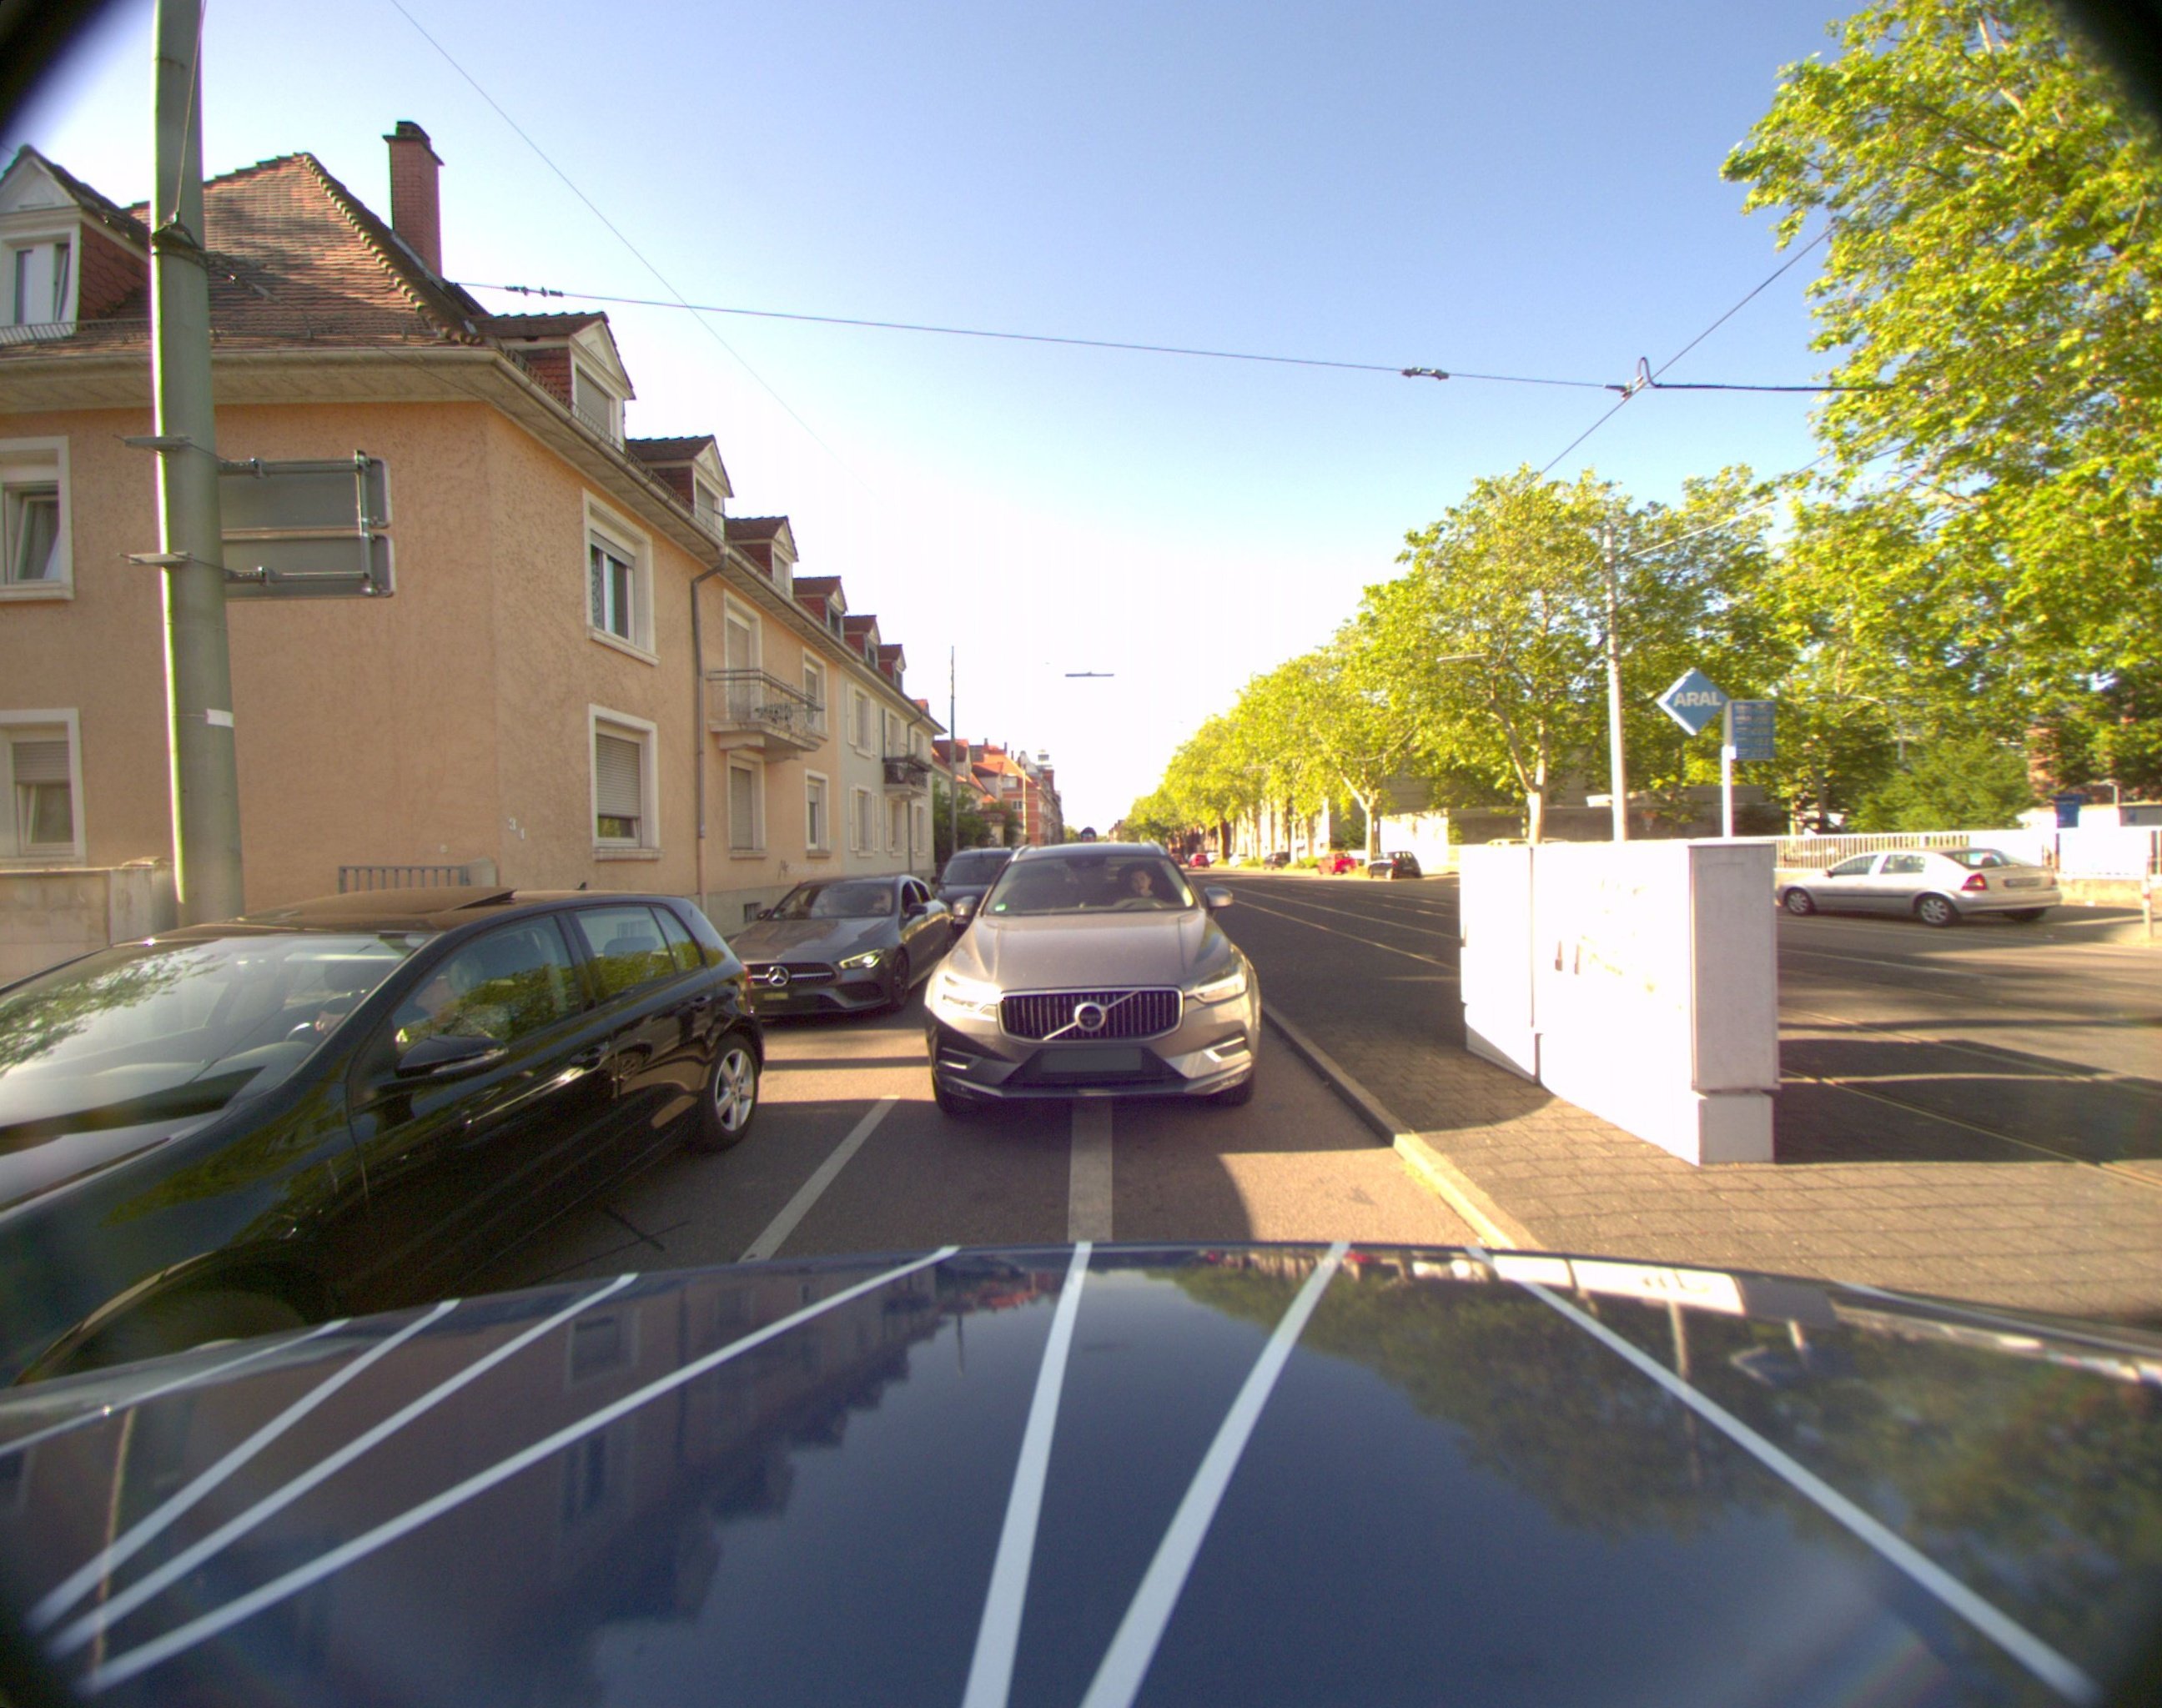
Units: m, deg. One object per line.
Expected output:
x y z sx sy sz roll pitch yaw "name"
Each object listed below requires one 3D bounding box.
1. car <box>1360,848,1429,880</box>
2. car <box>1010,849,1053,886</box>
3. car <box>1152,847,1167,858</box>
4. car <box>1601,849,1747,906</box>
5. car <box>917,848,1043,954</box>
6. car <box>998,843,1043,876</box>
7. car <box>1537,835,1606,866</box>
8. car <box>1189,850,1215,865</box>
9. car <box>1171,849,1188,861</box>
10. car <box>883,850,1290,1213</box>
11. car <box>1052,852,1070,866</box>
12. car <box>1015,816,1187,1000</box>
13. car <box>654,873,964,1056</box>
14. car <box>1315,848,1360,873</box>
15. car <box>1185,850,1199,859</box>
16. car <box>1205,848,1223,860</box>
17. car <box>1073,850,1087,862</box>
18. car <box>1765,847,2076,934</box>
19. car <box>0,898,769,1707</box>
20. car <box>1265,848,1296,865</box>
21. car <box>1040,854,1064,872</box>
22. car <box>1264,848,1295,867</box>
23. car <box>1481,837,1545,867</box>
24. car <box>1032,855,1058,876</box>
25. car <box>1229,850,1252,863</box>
16.868 0.490 41.165 1.753 1.514 4.434 -5 1 -1 "car"
-2.825 0.694 44.917 1.937 1.888 7.210 -2 1 1 "car"
12.902 -0.272 124.670 1.850 1.835 4.394 -1 1 -1 "car"
16.452 0.601 21.283 1.546 1.412 3.254 -2 1 1 "car"
-1.909 0.818 15.900 1.866 1.794 4.778 -2 1 1 "car"
-2.944 0.241 37.771 1.841 1.449 3.999 -2 1 1 "car"
24.274 -0.179 37.713 1.545 1.412 3.151 -2 1 4 "car"
12.524 0.347 79.011 1.912 1.514 4.763 0 1 0 "car"
13.207 0.058 101.939 1.700 1.412 3.999 6 1 1 "car"
0.034 0.850 6.063 1.912 1.666 4.763 -2 1 0 "car"
-2.183 0.578 85.443 1.841 1.449 3.999 -2 1 1 "car"
0.234 0.595 11.130 1.912 2.048 4.763 -2 1 0 "car"
-2.791 1.052 9.069 1.911 1.411 4.492 -2 1 2 "car"
16.966 0.406 50.461 1.700 1.460 3.999 -1 1 1 "car"
18.333 0.015 125.566 1.700 1.401 3.999 -1 1 1 "car"
17.664 0.001 100.789 1.700 1.548 3.999 -1 1 1 "car"
-0.159 0.264 106.495 1.841 1.449 3.999 -2 1 1 "car"
16.192 0.606 15.020 1.731 1.412 3.999 -2 1 1 "car"
-2.767 0.997 2.488 1.733 1.499 4.051 -2 -1 1 "car"
17.284 0.222 65.920 1.700 1.401 3.999 -1 1 1 "car"
-2.533 0.798 67.005 1.841 1.449 3.999 -2 1 1 "car"
17.166 0.315 66.000 1.700 1.566 3.999 -1 1 1 "car"
21.715 -0.116 38.314 1.545 1.412 3.151 -2 1 4 "car"
-2.829 0.881 60.596 1.841 1.449 3.999 -2 1 1 "car"
17.516 0.244 83.528 1.700 1.401 3.999 -1 1 1 "car"
